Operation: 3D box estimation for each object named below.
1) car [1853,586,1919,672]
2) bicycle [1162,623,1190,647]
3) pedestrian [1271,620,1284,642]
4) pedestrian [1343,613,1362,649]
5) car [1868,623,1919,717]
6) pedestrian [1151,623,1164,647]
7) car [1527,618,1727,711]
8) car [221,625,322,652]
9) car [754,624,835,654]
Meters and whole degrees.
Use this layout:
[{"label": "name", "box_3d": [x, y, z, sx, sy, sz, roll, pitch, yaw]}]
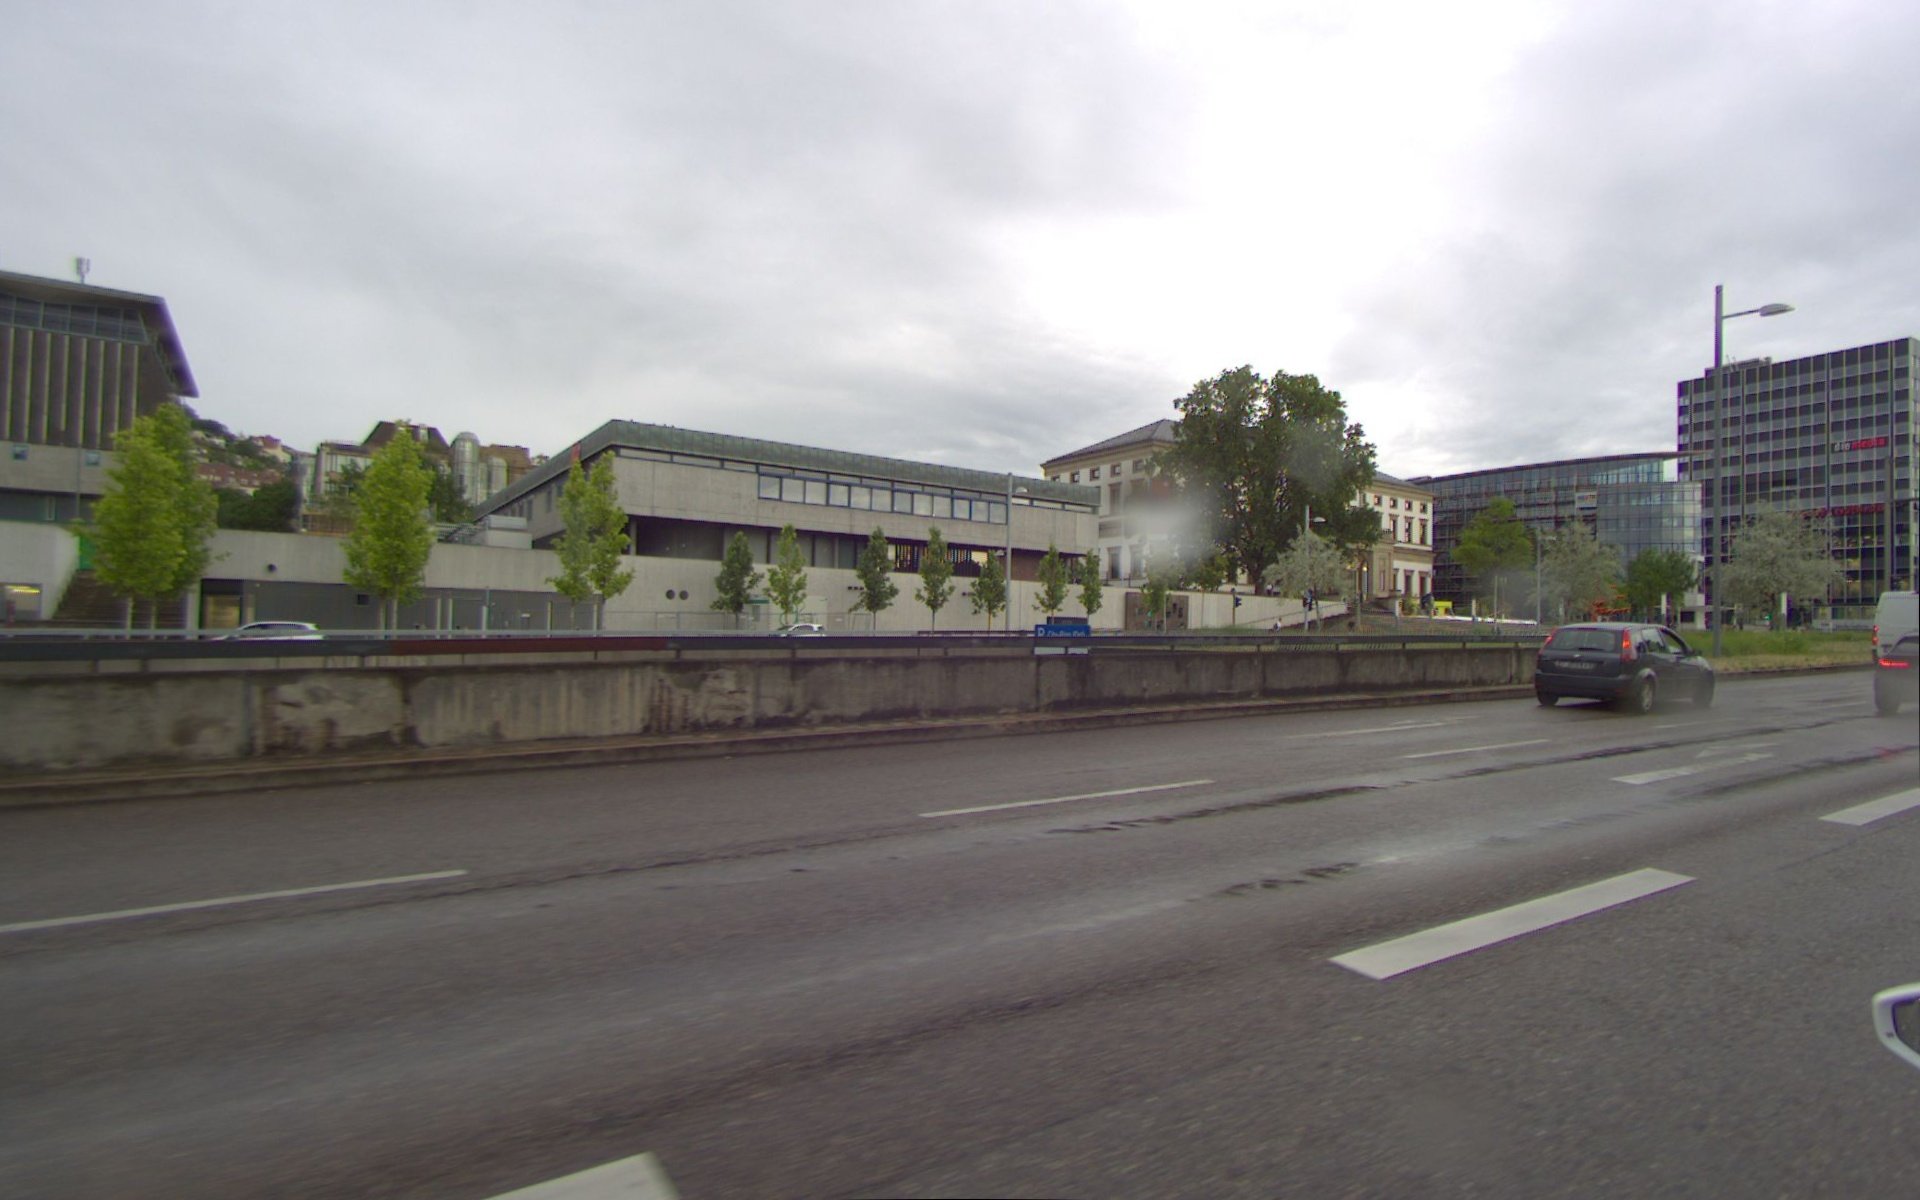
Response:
[{"label": "car", "box_3d": [28.003, 0.894, 28.887, 4.953, 2.344, 2.279, 3, -1, -33]}, {"label": "bicycle", "box_3d": [12.633, 2.049, 58.786, 1.460, 1.325, 0.555, 1, -1, 43]}, {"label": "pedestrian", "box_3d": [21.454, 2.096, 67.912, 0.621, 1.441, 0.493, 2, -1, -5]}, {"label": "pedestrian", "box_3d": [23.950, 1.866, 61.336, 0.717, 2.120, 0.764, -4, 3, -27]}, {"label": "car", "box_3d": [17.368, 1.164, 17.263, 4.180, 1.491, 1.742, 1, 0, -35]}, {"label": "pedestrian", "box_3d": [11.925, 2.115, 60.590, 0.568, 1.401, 0.466, 2, -1, -20]}, {"label": "car", "box_3d": [11.611, 1.096, 17.421, 3.862, 1.434, 1.533, 3, -1, -34]}, {"label": "car", "box_3d": [-21.132, 1.189, 30.867, 2.531, 0.755, 0.813, 3, -1, -38]}, {"label": "car", "box_3d": [-6.842, 1.620, 41.631, 2.991, 1.129, 1.431, 3, -1, -35]}]
